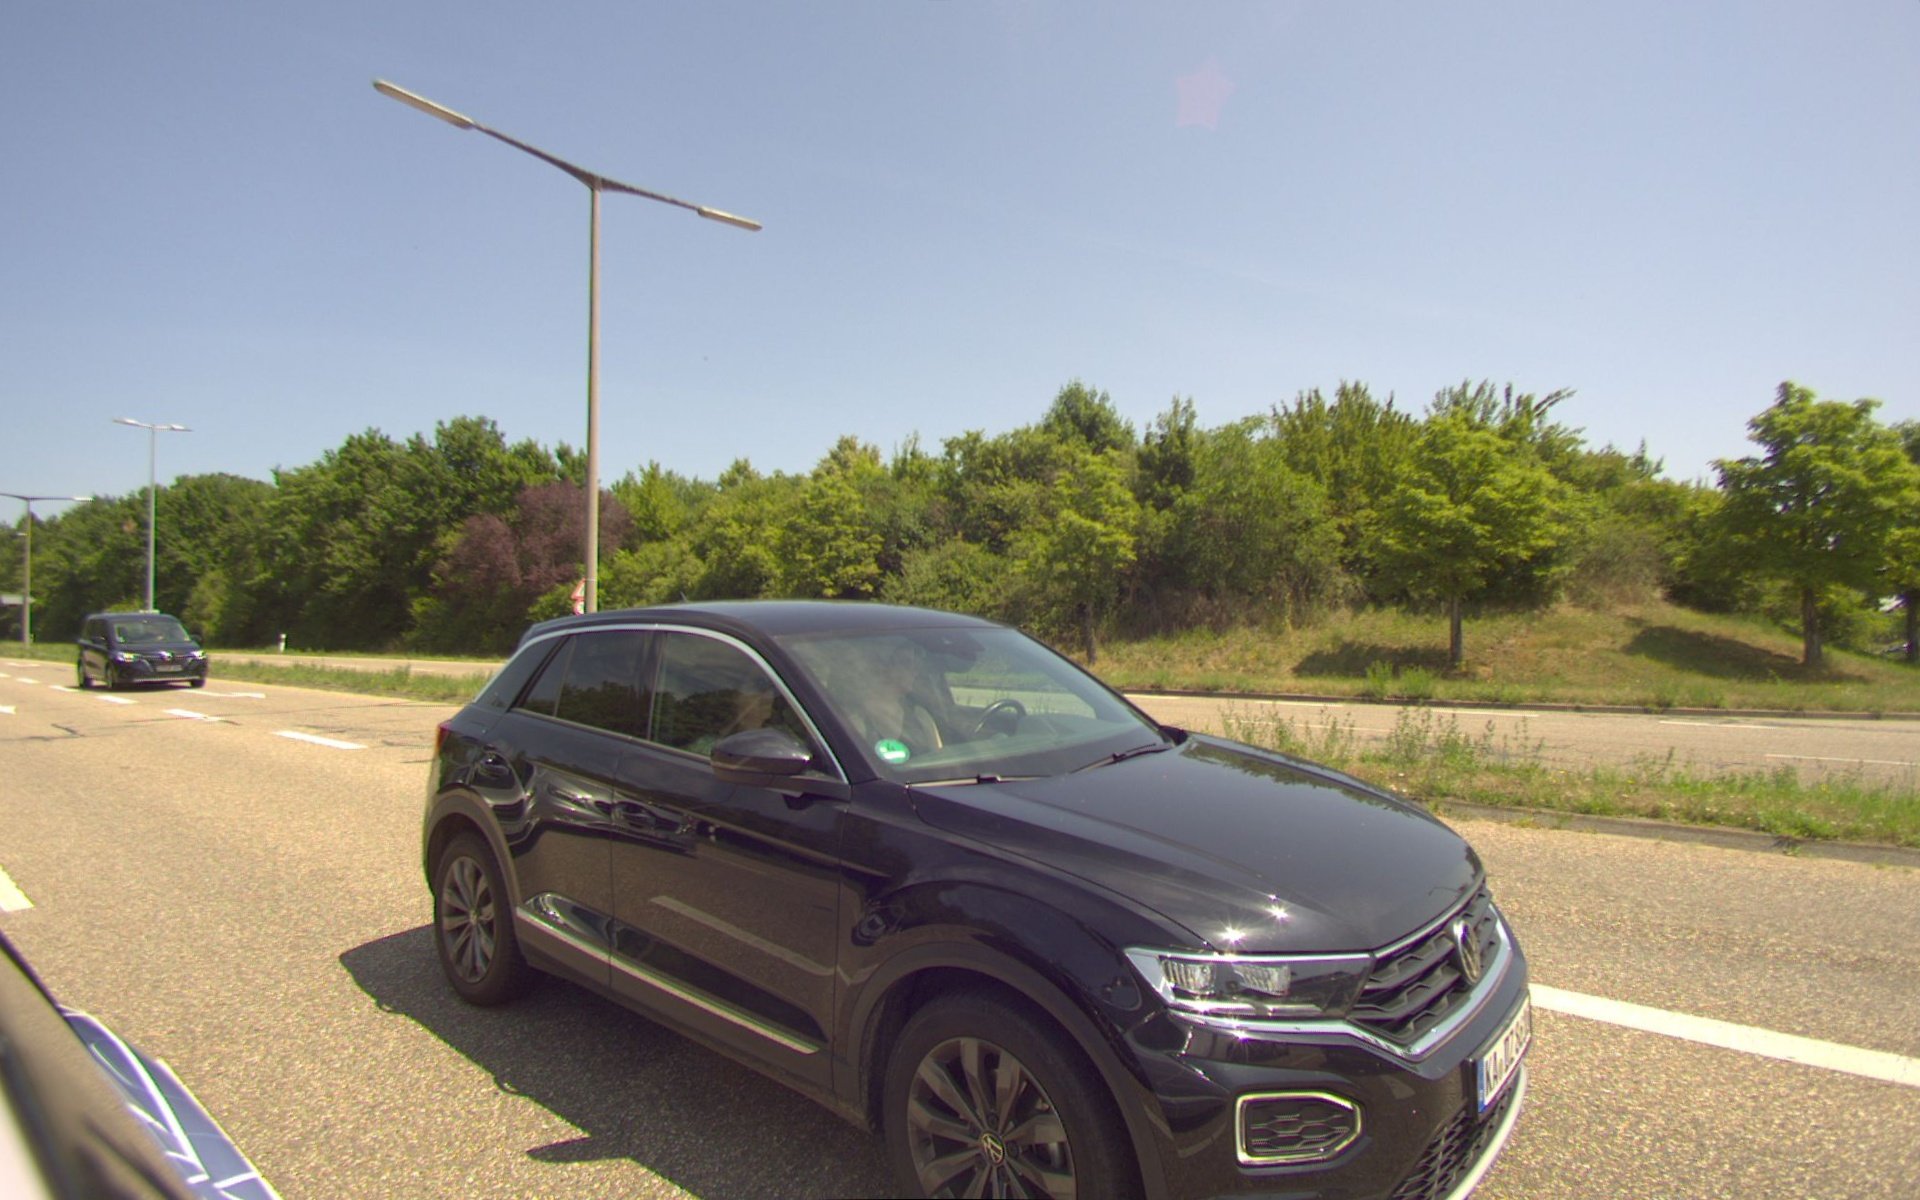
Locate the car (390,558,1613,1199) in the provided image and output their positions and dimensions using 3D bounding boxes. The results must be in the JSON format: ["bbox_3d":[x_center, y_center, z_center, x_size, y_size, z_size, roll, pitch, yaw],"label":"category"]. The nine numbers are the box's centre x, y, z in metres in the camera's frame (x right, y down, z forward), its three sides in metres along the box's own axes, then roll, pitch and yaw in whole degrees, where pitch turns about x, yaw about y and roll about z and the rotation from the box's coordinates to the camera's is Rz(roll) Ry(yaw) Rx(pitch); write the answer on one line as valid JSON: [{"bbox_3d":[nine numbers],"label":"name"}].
[{"bbox_3d":[-0.258,0.714,3.446,3.969,1.523,1.716,-1,0,41],"label":"car"}]

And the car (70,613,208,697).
[{"bbox_3d":[-19.713,1.263,24.238,4.317,1.840,1.714,-2,-2,39],"label":"car"}]
